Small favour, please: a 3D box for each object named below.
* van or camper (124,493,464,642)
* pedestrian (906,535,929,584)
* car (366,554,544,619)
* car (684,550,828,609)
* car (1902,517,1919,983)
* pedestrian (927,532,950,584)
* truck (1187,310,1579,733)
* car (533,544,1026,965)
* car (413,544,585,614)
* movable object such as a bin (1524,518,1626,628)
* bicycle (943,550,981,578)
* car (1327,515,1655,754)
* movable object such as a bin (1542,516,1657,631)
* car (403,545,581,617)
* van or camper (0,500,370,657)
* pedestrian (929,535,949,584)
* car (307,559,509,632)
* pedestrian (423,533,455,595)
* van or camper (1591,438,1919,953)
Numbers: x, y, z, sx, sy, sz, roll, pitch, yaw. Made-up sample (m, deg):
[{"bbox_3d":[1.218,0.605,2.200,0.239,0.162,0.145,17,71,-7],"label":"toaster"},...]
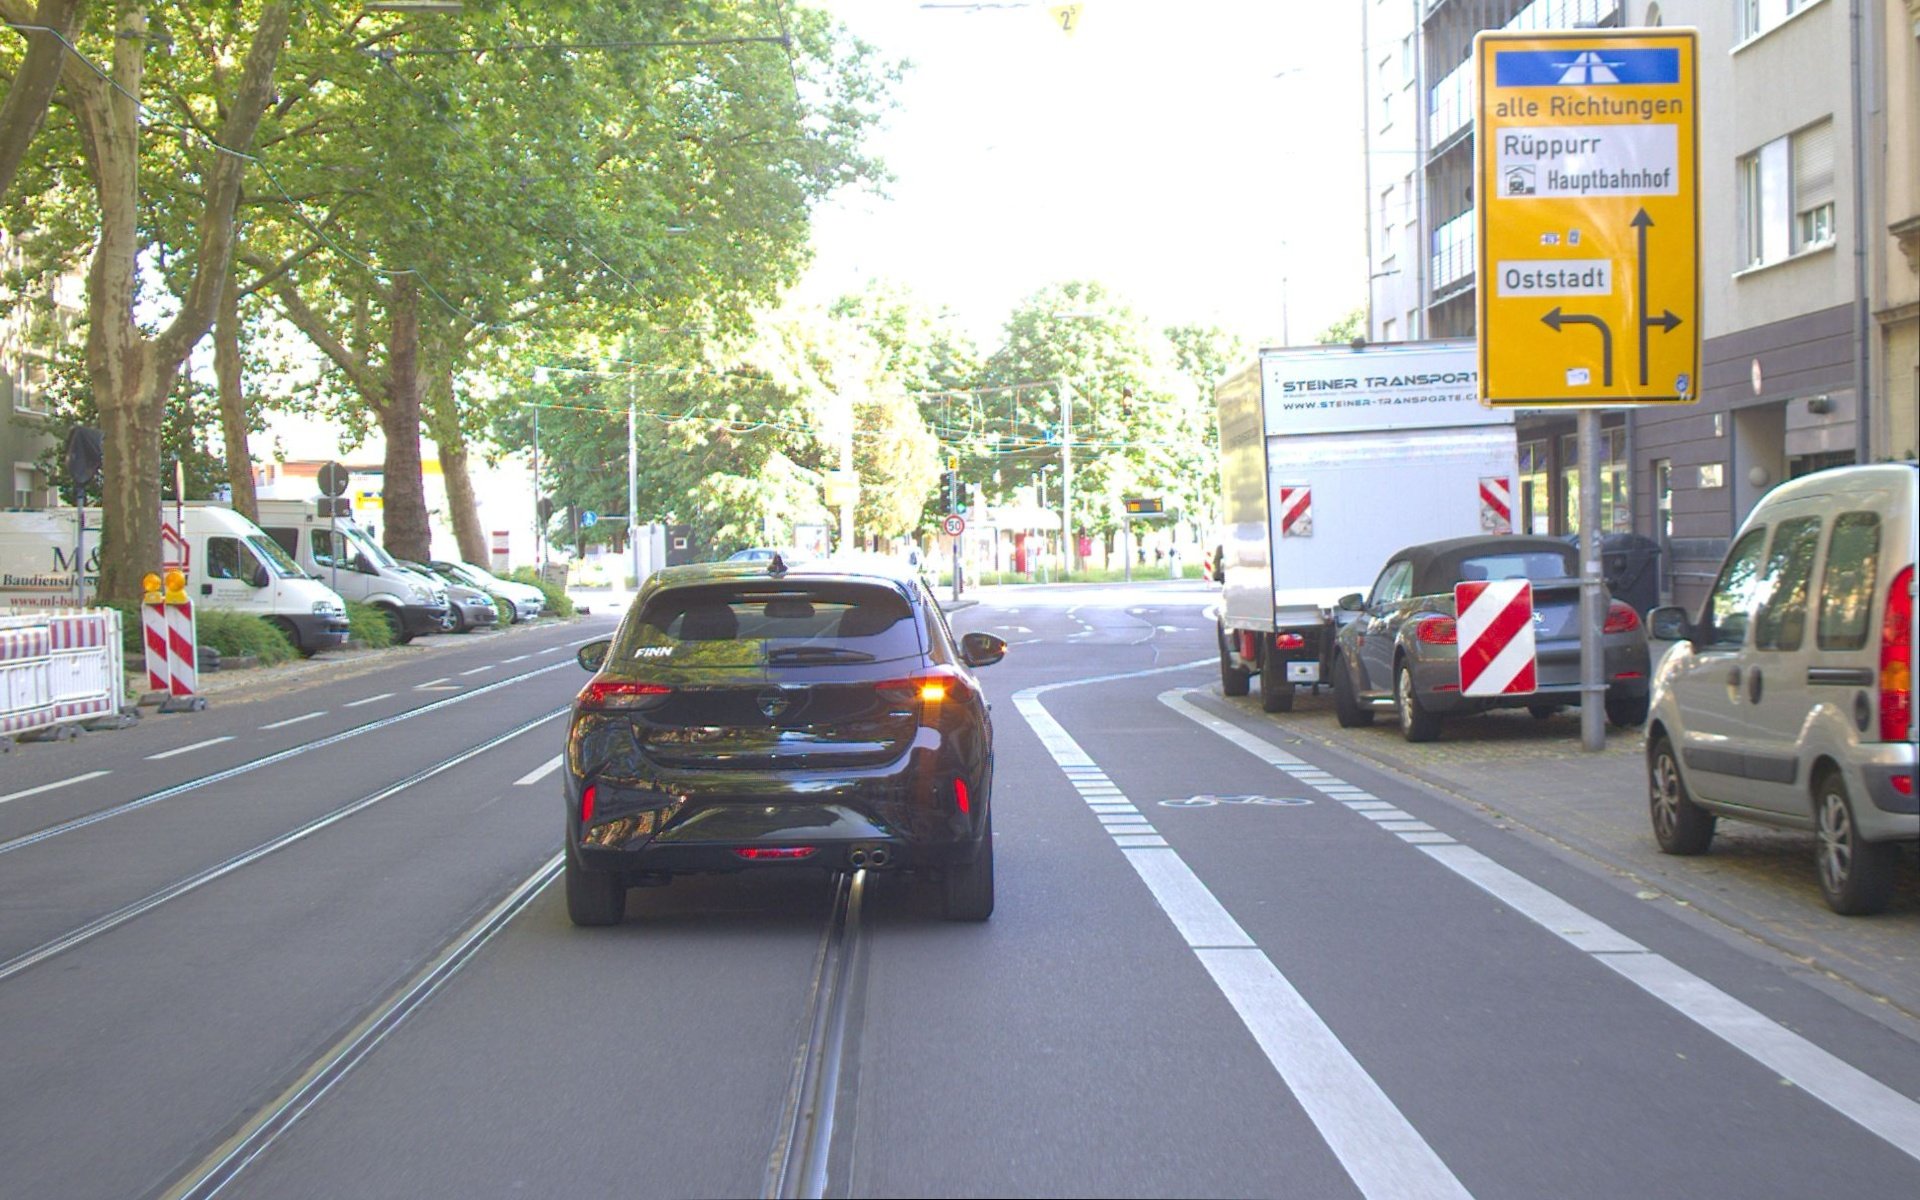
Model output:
[{"bbox_3d":[-12.016,-0.595,62.294,5.723,2.635,2.269,0,1,0],"label":"van or camper"},{"bbox_3d":[-1.587,-1.509,128.217,0.618,1.847,0.582,1,1,44],"label":"pedestrian"},{"bbox_3d":[-12.014,-0.328,81.902,3.987,1.510,1.650,0,1,1],"label":"car"},{"bbox_3d":[-6.569,-0.637,110.370,1.995,1.690,4.737,-4,2,-43],"label":"car"},{"bbox_3d":[4.048,0.515,9.835,1.660,1.575,3.589,-2,1,0],"label":"car"},{"bbox_3d":[-0.814,-1.566,128.845,0.658,1.926,0.608,0,1,31],"label":"pedestrian"},{"bbox_3d":[3.719,-0.706,31.880,2.538,3.326,7.195,-4,1,0],"label":"truck"},{"bbox_3d":[-0.692,0.531,14.529,1.781,1.491,4.000,0,1,-1],"label":"car"},{"bbox_3d":[-11.707,-0.540,87.521,4.167,1.665,1.965,-1,1,-3],"label":"car"},{"bbox_3d":[8.658,-0.386,48.483,1.110,1.479,1.388,-3,1,0],"label":"movable object such as a bin"},{"bbox_3d":[0.075,-1.294,122.333,0.789,0.988,2.242,0,1,16],"label":"bicycle"},{"bbox_3d":[3.904,0.203,25.927,1.731,1.552,4.152,-4,1,0],"label":"car"},{"bbox_3d":[8.658,-0.361,46.609,1.186,1.479,1.595,-3,1,0],"label":"movable object such as a bin"},{"bbox_3d":[-11.499,-0.483,84.641,4.167,1.665,1.965,-1,1,-3],"label":"car"},{"bbox_3d":[-12.064,-0.339,52.963,5.502,2.371,2.269,0,1,3],"label":"van or camper"},{"bbox_3d":[-0.796,-1.541,130.565,0.582,1.847,0.618,0,1,-26],"label":"pedestrian"},{"bbox_3d":[-11.644,-0.100,72.699,3.987,1.510,1.650,0,1,1],"label":"car"},{"bbox_3d":[-18.768,-1.288,123.856,0.819,2.213,0.899,0,1,-35],"label":"pedestrian"},{"bbox_3d":[4.026,0.278,14.714,1.669,1.876,4.211,-2,1,-2],"label":"van or camper"}]
